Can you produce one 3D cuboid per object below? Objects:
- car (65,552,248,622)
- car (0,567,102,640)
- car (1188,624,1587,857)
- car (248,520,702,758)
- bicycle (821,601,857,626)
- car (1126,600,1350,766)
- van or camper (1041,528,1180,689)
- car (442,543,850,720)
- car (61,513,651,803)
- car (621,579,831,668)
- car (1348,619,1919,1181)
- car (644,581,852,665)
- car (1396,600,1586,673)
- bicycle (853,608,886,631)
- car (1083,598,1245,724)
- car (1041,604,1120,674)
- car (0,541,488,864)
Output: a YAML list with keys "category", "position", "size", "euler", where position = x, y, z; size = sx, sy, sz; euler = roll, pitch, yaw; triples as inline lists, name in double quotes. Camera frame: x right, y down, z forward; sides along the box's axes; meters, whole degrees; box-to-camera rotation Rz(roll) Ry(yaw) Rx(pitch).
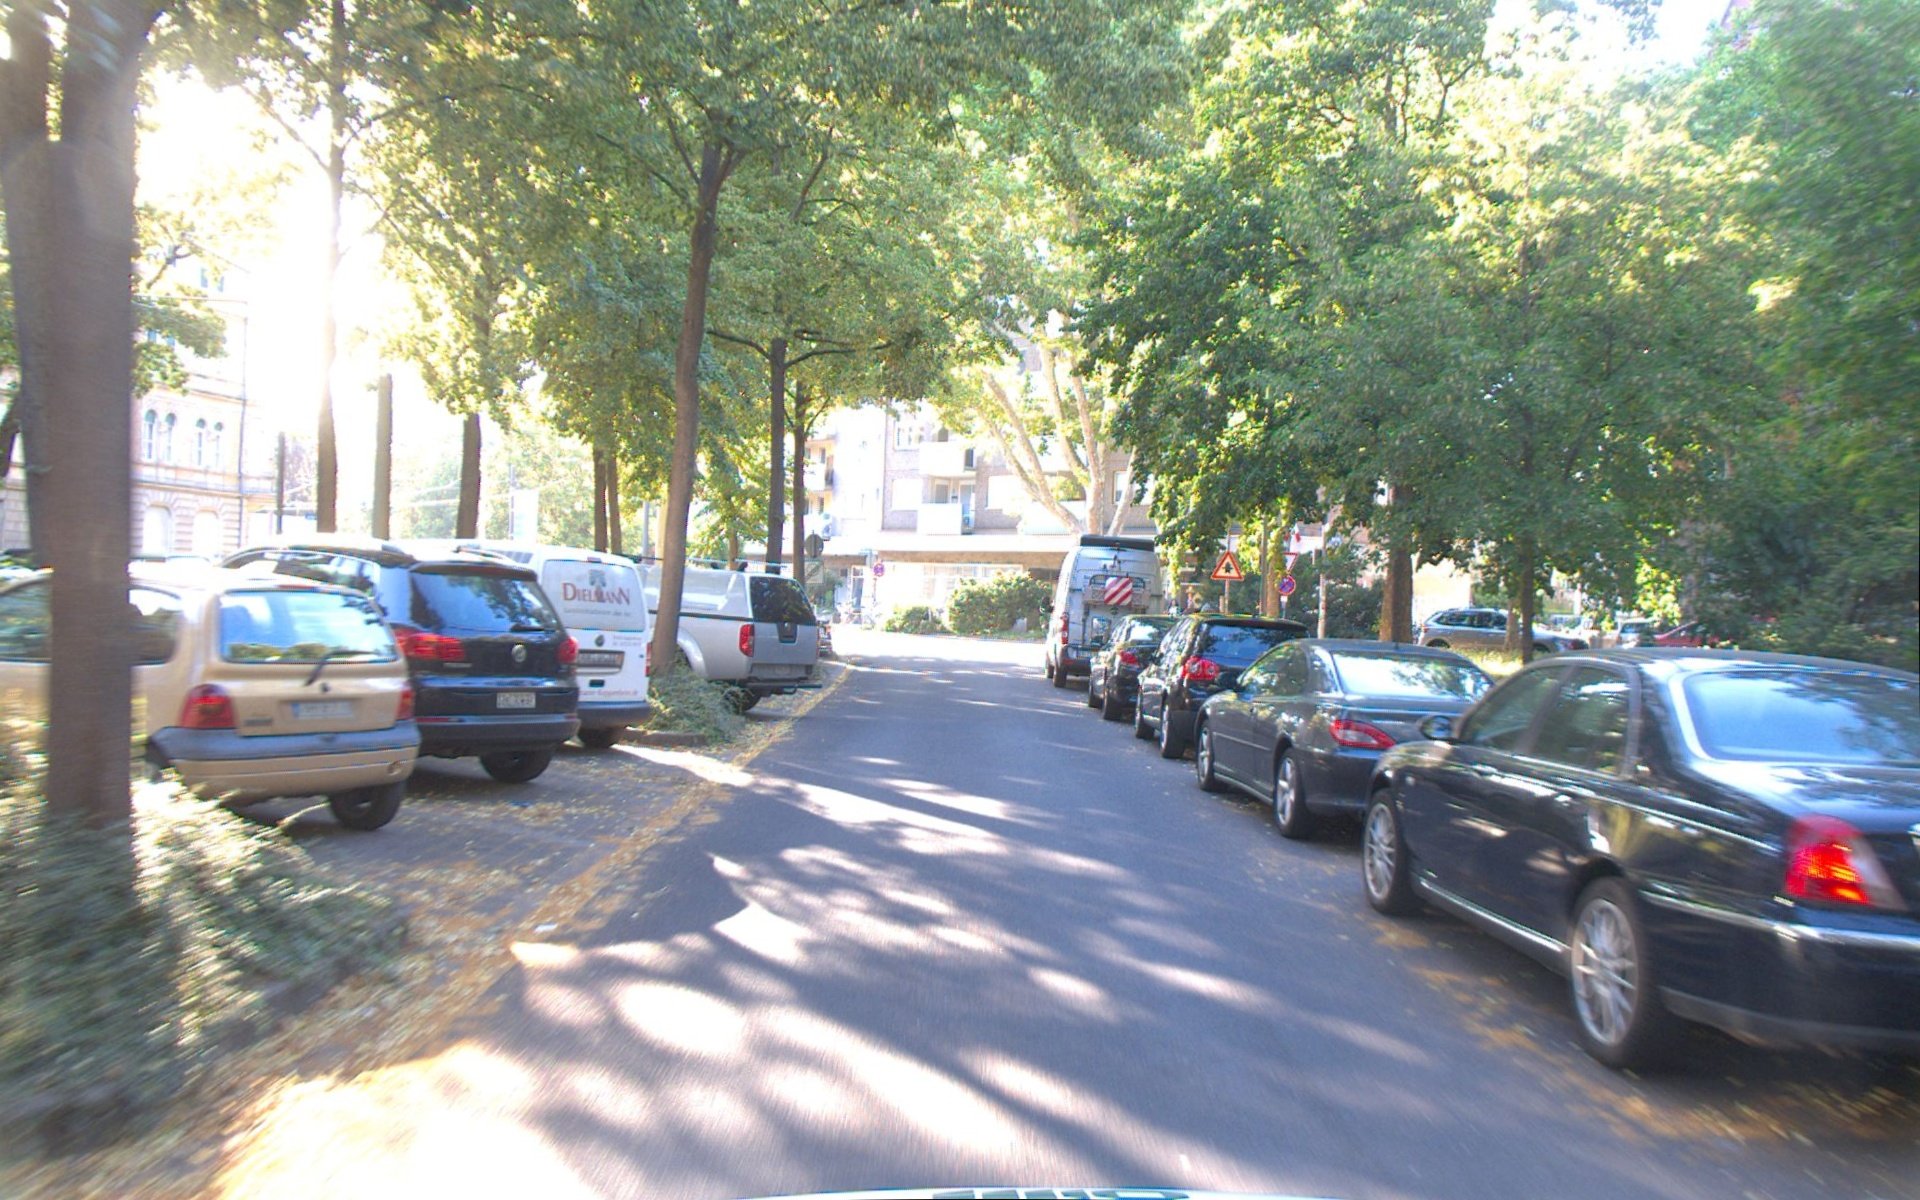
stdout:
- category: "car"
  position: [-22.350, -0.360, 46.020]
  size: [4.726, 1.795, 2.083]
  euler: [2, 0, 26]
- category: "car"
  position: [-22.476, 0.062, 39.608]
  size: [3.569, 1.668, 1.659]
  euler: [1, 0, 28]
- category: "car"
  position: [2.928, 0.896, 12.300]
  size: [1.647, 1.305, 4.285]
  euler: [2, 0, -3]
- category: "car"
  position: [-4.629, 0.311, 15.609]
  size: [4.077, 1.812, 1.877]
  euler: [5, 0, 35]
- category: "bicycle"
  position: [-5.226, 0.586, 71.242]
  size: [0.632, 1.040, 2.066]
  euler: [2, 0, -32]
- category: "car"
  position: [2.923, 0.810, 18.223]
  size: [1.646, 1.552, 4.286]
  euler: [2, 0, -1]
- category: "van or camper"
  position: [2.842, 0.151, 32.542]
  size: [2.042, 2.810, 5.844]
  euler: [2, 0, -1]
- category: "car"
  position: [-4.094, 0.369, 21.453]
  size: [4.890, 1.812, 1.985]
  euler: [5, 0, 26]
- category: "car"
  position: [-4.561, 0.355, 12.387]
  size: [4.072, 1.672, 1.911]
  euler: [5, 0, 30]
- category: "car"
  position: [-4.782, 0.482, 33.832]
  size: [3.783, 1.463, 1.831]
  euler: [5, 0, 24]
- category: "car"
  position: [3.038, 0.863, 6.830]
  size: [1.646, 1.449, 4.658]
  euler: [2, 0, -1]
- category: "car"
  position: [-4.667, 0.505, 36.369]
  size: [4.104, 1.463, 1.831]
  euler: [5, 0, 24]
- category: "car"
  position: [13.310, 0.893, 41.595]
  size: [4.204, 1.579, 1.730]
  euler: [1, -3, 45]
- category: "bicycle"
  position: [-3.790, 0.823, 69.412]
  size: [0.538, 0.920, 1.714]
  euler: [2, 0, -35]
- category: "car"
  position: [2.798, 0.785, 23.568]
  size: [1.646, 1.552, 4.488]
  euler: [2, 0, -1]
- category: "car"
  position: [2.830, 0.887, 39.496]
  size: [1.646, 1.471, 3.873]
  euler: [4, 0, 2]
- category: "car"
  position: [-4.685, 0.469, 9.618]
  size: [3.353, 1.450, 1.830]
  euler: [5, 0, 29]
